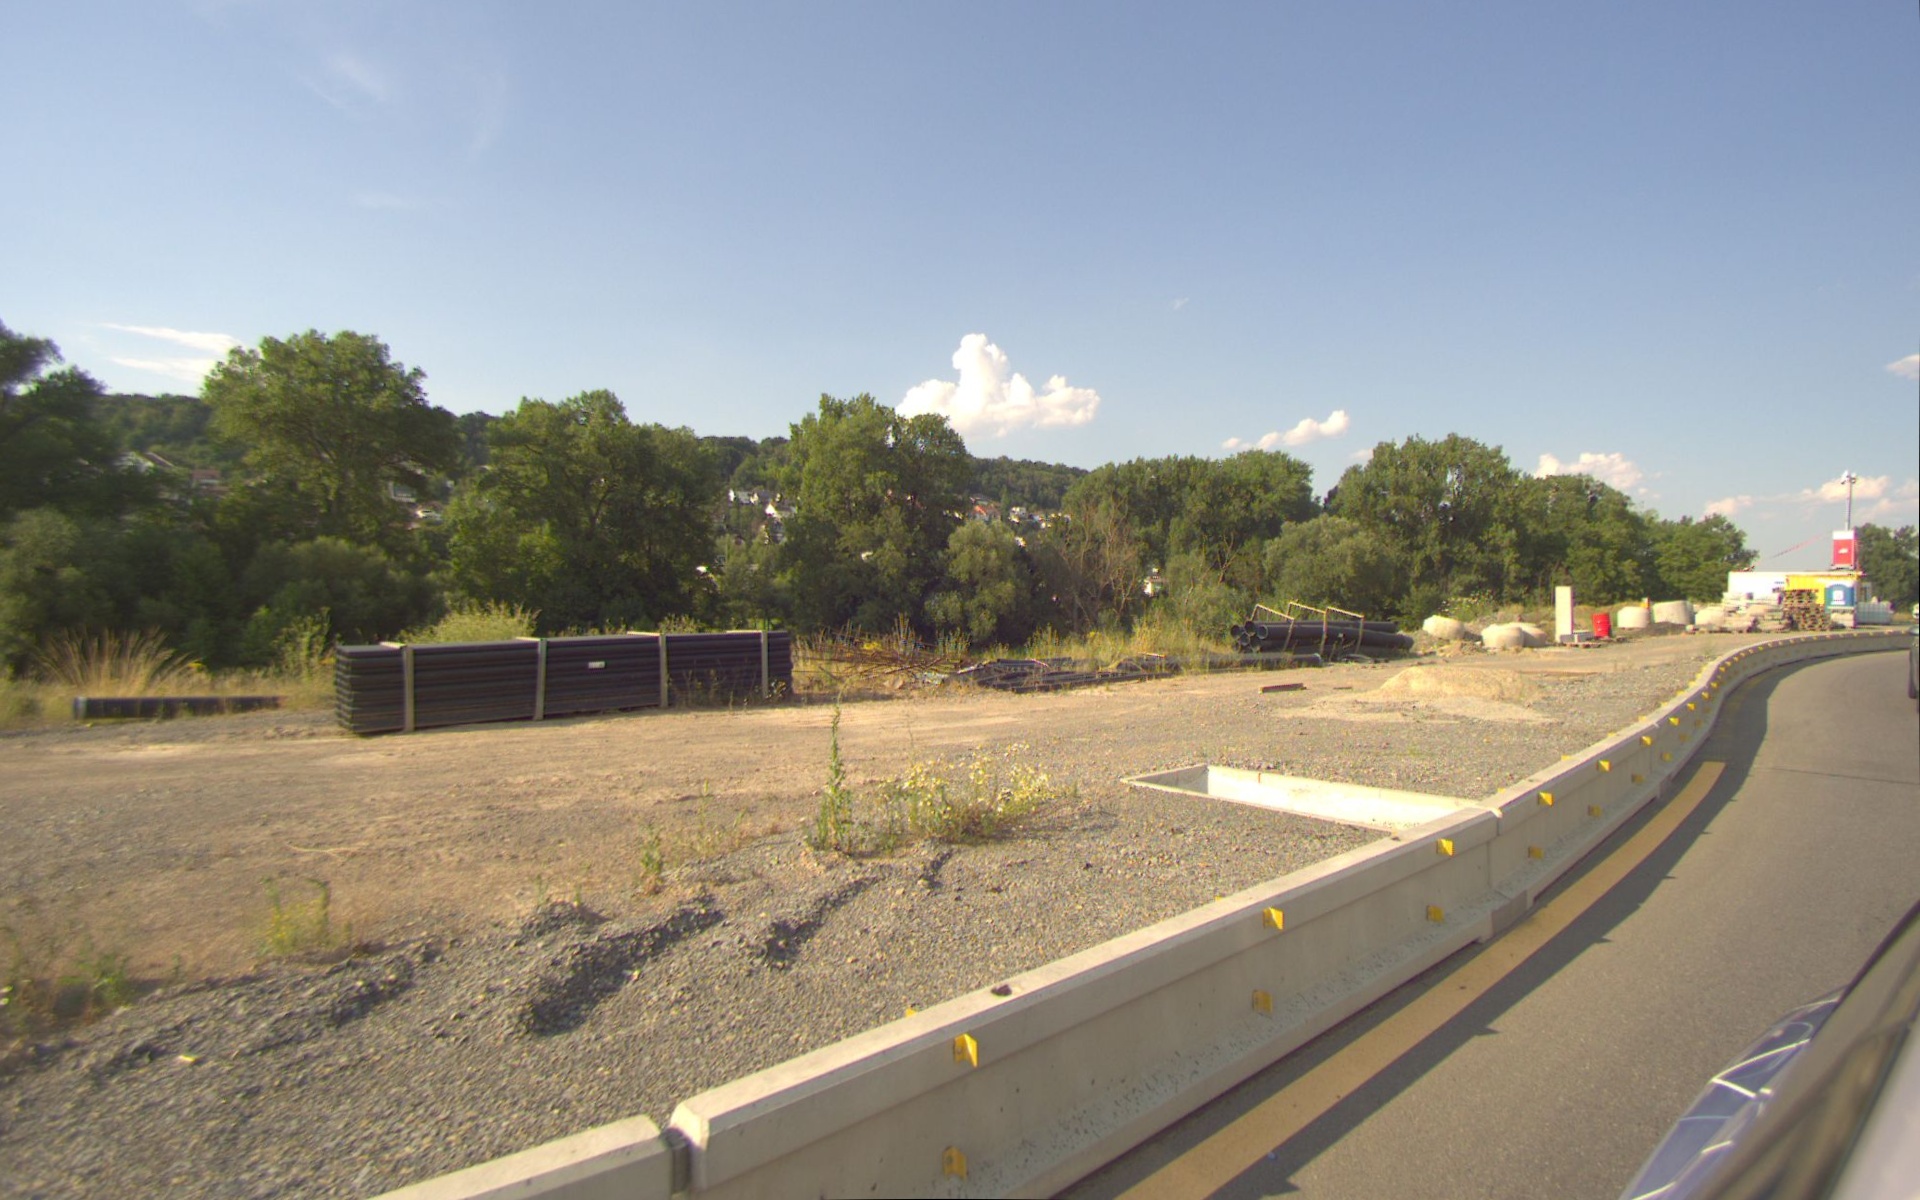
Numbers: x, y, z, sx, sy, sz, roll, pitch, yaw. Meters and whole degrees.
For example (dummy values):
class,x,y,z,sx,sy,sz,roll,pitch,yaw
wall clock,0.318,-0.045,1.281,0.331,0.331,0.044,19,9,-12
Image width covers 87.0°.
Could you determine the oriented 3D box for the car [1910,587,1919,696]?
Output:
class,x,y,z,sx,sy,sz,roll,pitch,yaw
car,13.549,0.609,12.949,1.741,1.503,4.190,3,2,40
